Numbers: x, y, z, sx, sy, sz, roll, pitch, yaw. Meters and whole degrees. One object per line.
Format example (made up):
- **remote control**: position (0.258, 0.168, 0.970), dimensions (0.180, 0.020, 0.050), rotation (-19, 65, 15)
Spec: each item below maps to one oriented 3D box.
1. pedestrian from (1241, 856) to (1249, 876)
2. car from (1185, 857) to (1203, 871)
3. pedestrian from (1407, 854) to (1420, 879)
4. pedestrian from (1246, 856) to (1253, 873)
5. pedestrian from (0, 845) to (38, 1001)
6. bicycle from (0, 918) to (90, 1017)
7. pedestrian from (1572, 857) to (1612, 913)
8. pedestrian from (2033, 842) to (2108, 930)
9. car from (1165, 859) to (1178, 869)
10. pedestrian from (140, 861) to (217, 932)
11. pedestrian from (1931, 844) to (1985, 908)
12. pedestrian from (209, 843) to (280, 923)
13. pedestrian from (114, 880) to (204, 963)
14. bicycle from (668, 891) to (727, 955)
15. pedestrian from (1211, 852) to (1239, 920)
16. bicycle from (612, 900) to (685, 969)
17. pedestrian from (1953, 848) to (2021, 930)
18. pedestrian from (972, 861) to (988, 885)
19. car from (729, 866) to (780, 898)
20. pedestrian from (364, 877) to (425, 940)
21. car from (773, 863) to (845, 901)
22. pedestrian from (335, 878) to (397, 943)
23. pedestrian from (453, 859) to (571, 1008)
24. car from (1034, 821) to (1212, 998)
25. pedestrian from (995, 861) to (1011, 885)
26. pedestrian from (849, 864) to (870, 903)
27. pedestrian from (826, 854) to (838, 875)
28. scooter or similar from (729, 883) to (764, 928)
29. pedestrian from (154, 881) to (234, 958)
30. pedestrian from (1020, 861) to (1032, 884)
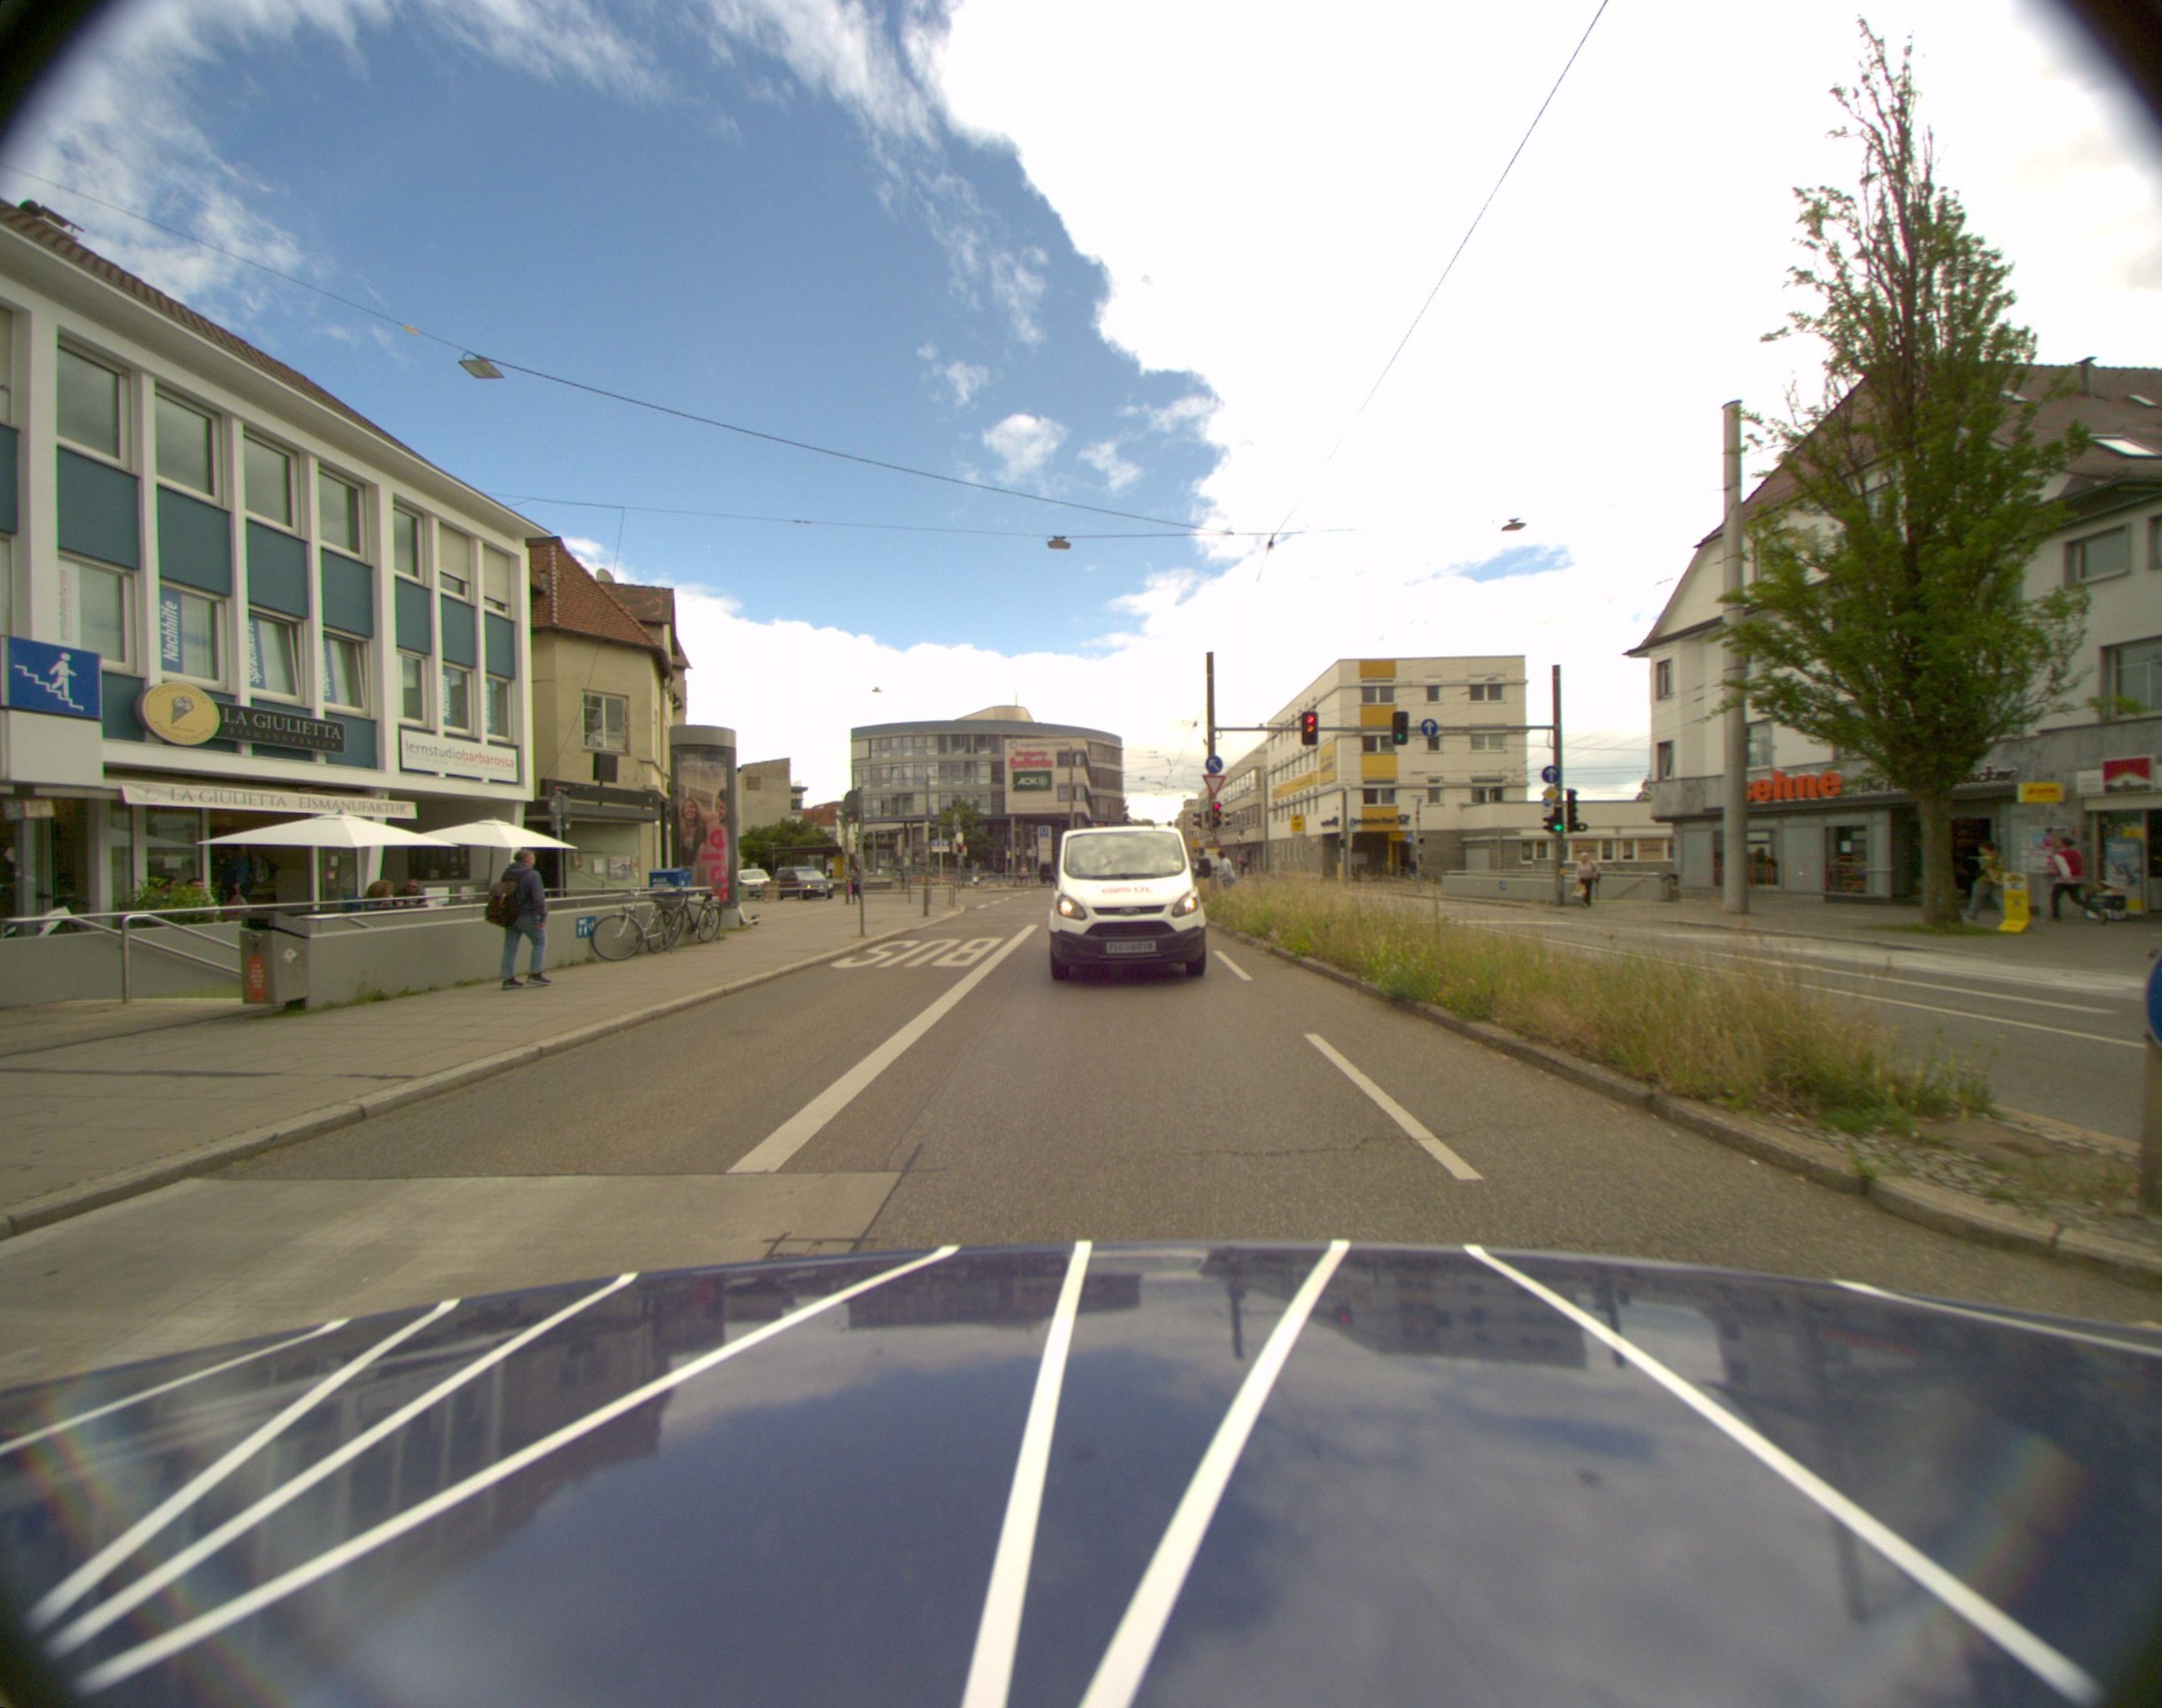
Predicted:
- **pedestrian**: position (15.000, 1.130, 69.466), dimensions (0.587, 1.792, 0.526), rotation (-4, 0, 3)
- **car**: position (17.306, 1.517, 116.390), dimensions (1.998, 2.001, 4.487), rotation (-1, 0, 1)
- **pedestrian**: position (21.798, 0.787, 49.808), dimensions (0.587, 1.625, 0.615), rotation (-1, 0, 2)
- **pedestrian**: position (17.657, 1.108, 79.629), dimensions (0.587, 1.792, 0.526), rotation (-4, 0, 3)
- **pedestrian**: position (-11.623, 0.720, 7.811), dimensions (0.668, 1.625, 0.800), rotation (-1, 0, 0)
- **bicycle**: position (-11.175, 1.186, 7.773), dimensions (0.274, 0.968, 1.387), rotation (0, 0, -1)
- **pedestrian**: position (15.524, 0.931, 23.095), dimensions (0.702, 1.625, 0.614), rotation (-4, 0, -8)
- **pedestrian**: position (19.855, 0.637, 15.255), dimensions (0.587, 1.702, 0.615), rotation (-4, 0, 1)
- **car**: position (15.954, 1.733, 134.493), dimensions (2.073, 1.728, 4.694), rotation (1, 0, 4)
- **pedestrian**: position (-16.246, 0.752, 13.692), dimensions (0.614, 1.213, 0.588), rotation (-4, 0, 2)
- **pedestrian**: position (22.918, 0.569, 19.861), dimensions (0.614, 1.625, 0.588), rotation (-4, 0, 0)
- **pedestrian**: position (-15.864, 0.540, 14.428), dimensions (0.614, 1.452, 0.588), rotation (-4, 0, 2)
- **pedestrian**: position (-14.347, 1.033, 11.837), dimensions (0.614, 1.213, 0.588), rotation (-4, 0, 0)
- **bicycle**: position (-6.882, 1.210, 13.680), dimensions (0.274, 1.047, 1.388), rotation (-1, 0, 4)
- **pedestrian**: position (3.537, 0.774, 18.720), dimensions (0.504, 1.625, 0.663), rotation (-1, 0, -4)
- **bicycle**: position (-6.904, 1.257, 12.186), dimensions (0.274, 0.968, 1.388), rotation (-1, 0, 4)
- **pedestrian**: position (18.843, 0.717, 15.813), dimensions (0.587, 1.625, 0.615), rotation (-4, 0, 1)
- **pedestrian**: position (-7.106, 1.344, 53.419), dimensions (0.808, 1.637, 0.886), rotation (-1, 0, -30)
- **car**: position (-20.923, 1.747, 48.568), dimensions (1.884, 1.884, 4.915), rotation (-1, 0, -36)
- **pedestrian**: position (-13.826, 1.087, 15.312), dimensions (0.614, 1.213, 0.588), rotation (-4, 0, 0)
- **car**: position (-14.890, 1.473, 41.428), dimensions (1.884, 1.884, 4.914), rotation (-2, 0, -43)
- **pedestrian**: position (-13.805, 1.082, 14.681), dimensions (0.614, 1.213, 0.588), rotation (1, 0, 0)
- **pedestrian**: position (-6.499, 0.870, 8.725), dimensions (0.689, 1.625, 0.853), rotation (-1, 0, 2)
- **car**: position (0.727, 0.667, 11.203), dimensions (1.998, 2.001, 5.002), rotation (-1, 0, 6)
- **pedestrian**: position (-5.573, 1.346, 54.358), dimensions (0.847, 1.625, 0.644), rotation (-3, 0, -31)
- **pedestrian**: position (-9.471, 1.269, 32.485), dimensions (0.589, 1.612, 0.743), rotation (-4, 0, -29)
- **pedestrian**: position (-22.062, 0.922, 67.297), dimensions (0.613, 1.733, 0.697), rotation (-4, 0, 39)
- **scooter or similar**: position (-8.763, 1.331, 19.926), dimensions (0.315, 1.126, 1.208), rotation (-1, 0, 4)
- **pedestrian**: position (-14.642, 1.066, 12.556), dimensions (0.614, 1.213, 0.588), rotation (-1, 0, 0)
- **pedestrian**: position (-4.006, 1.352, 55.373), dimensions (0.589, 1.625, 0.525), rotation (-3, 0, -43)
